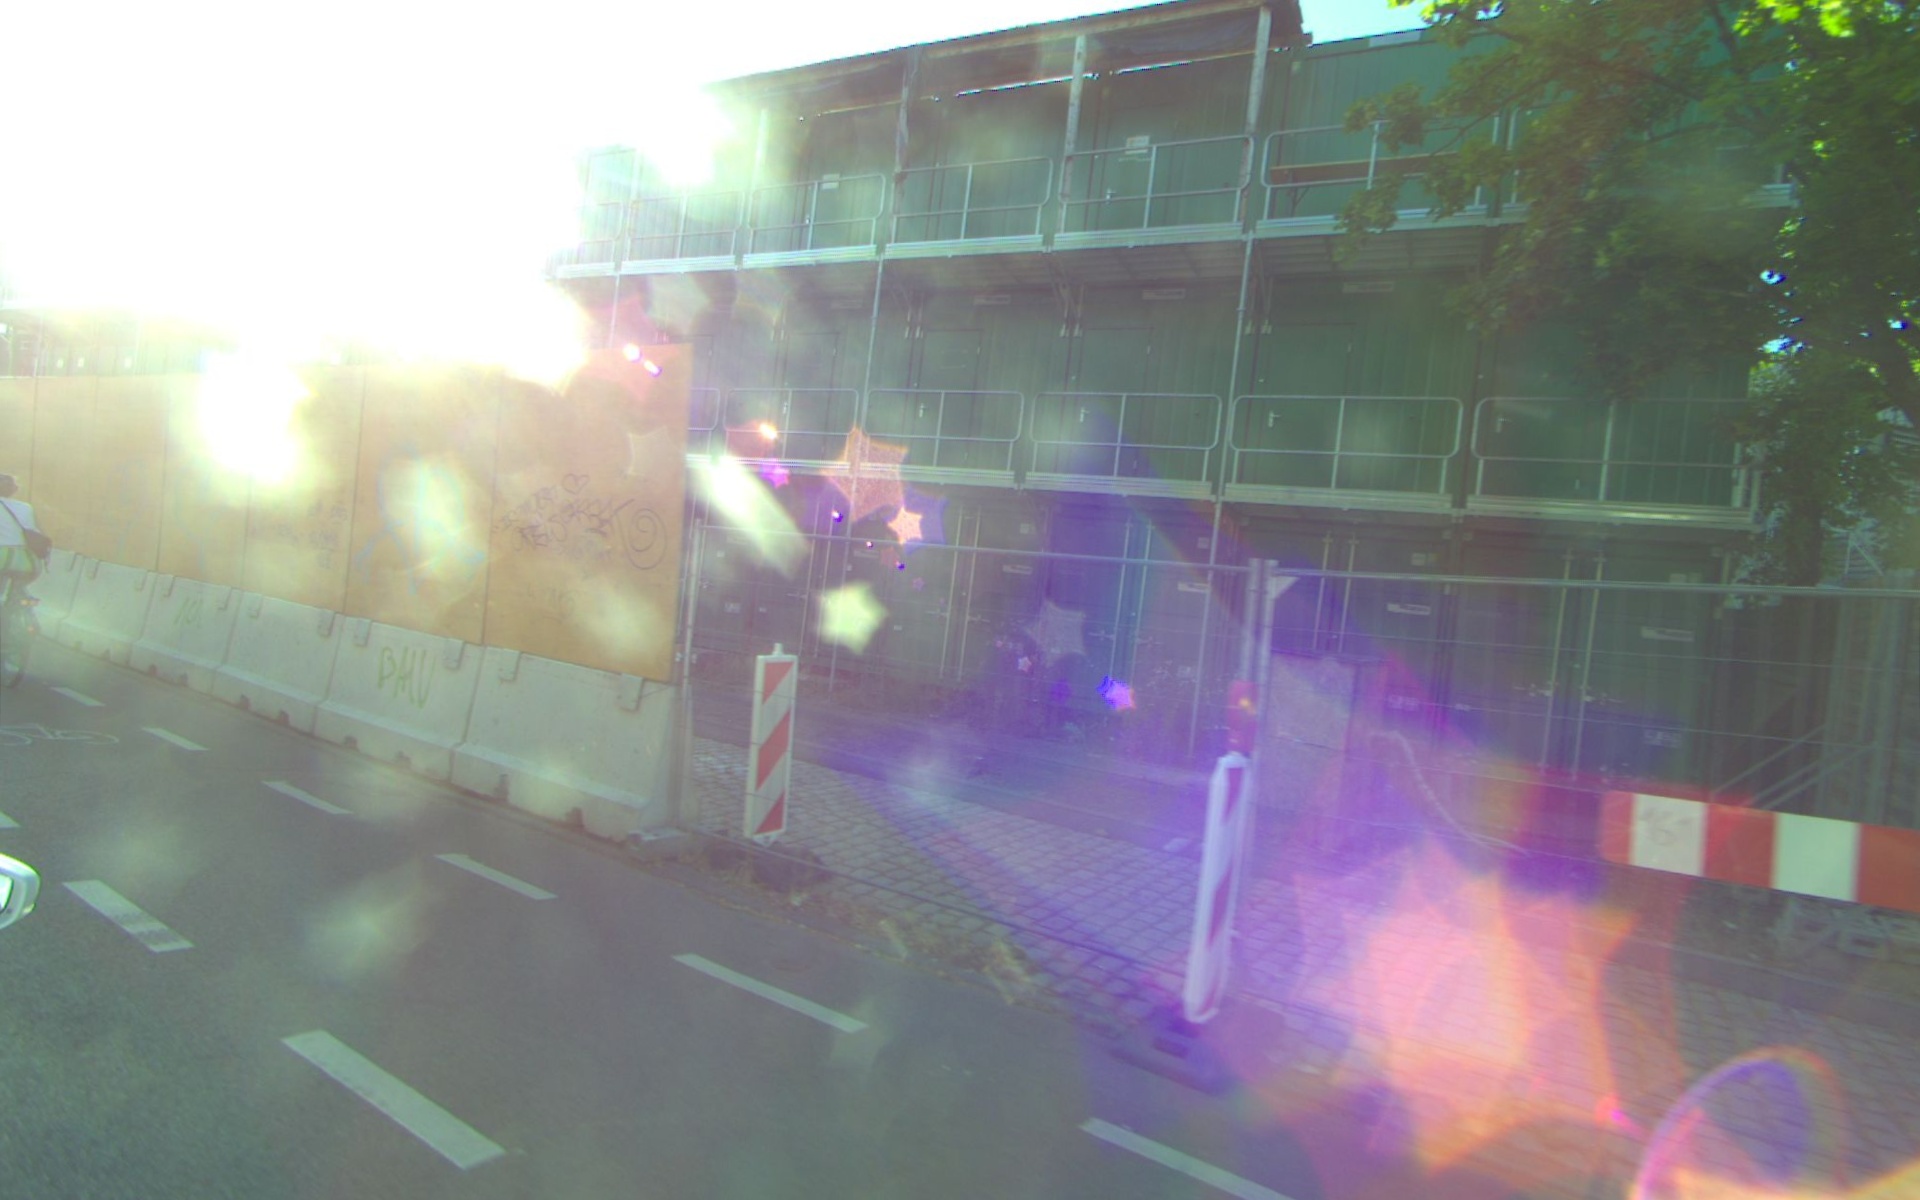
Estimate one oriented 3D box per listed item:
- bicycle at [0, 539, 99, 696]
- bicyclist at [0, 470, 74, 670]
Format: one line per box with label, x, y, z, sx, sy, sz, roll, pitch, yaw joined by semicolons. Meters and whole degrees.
bicycle;-8.261;0.087;8.629;2.237;1.141;0.558;7;1;30
bicyclist;-8.008;-0.258;8.475;0.567;1.633;0.556;7;1;31
